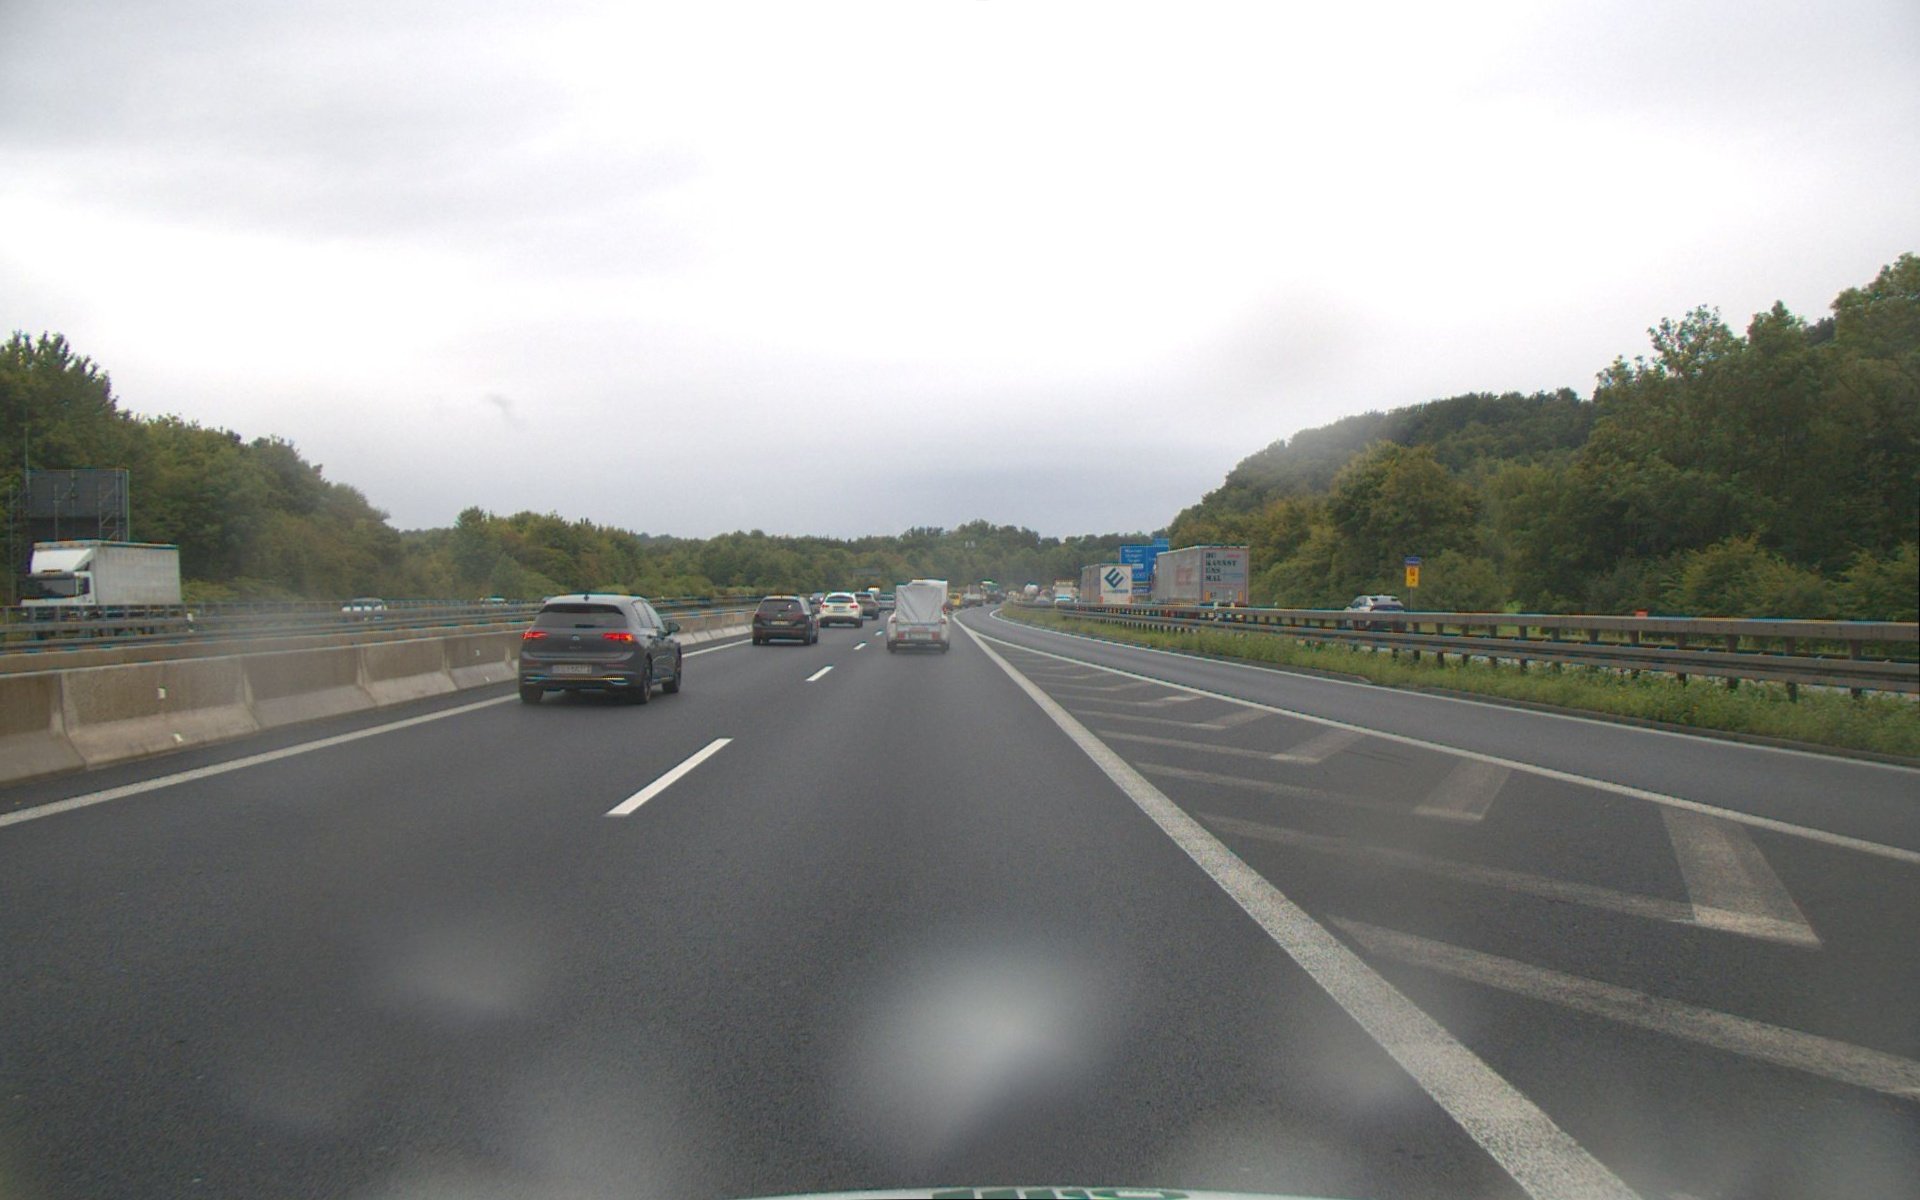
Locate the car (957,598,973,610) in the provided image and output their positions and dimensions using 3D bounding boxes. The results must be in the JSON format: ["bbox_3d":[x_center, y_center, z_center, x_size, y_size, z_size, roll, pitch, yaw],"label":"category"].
[{"bbox_3d":[0.713,0.552,232.110,1.994,1.712,4.002,1,0,4],"label":"car"}]

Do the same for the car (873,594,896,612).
[{"bbox_3d":[-7.014,0.280,154.538,1.738,1.669,4.044,1,0,3],"label":"car"}]

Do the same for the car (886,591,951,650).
[{"bbox_3d":[-1.183,0.605,49.380,1.781,1.644,4.777,1,0,0],"label":"car"}]

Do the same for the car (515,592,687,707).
[{"bbox_3d":[-5.029,0.660,23.670,1.642,1.481,3.999,1,0,-1],"label":"car"}]

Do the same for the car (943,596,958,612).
[{"bbox_3d":[-1.054,0.450,190.604,1.641,1.844,4.000,1,0,1],"label":"car"}]

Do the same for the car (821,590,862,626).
[{"bbox_3d":[-5.631,0.391,79.077,1.739,1.669,4.042,1,0,-1],"label":"car"}]

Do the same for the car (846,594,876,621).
[{"bbox_3d":[-6.338,0.497,106.178,1.739,1.669,4.042,1,0,-1],"label":"car"}]

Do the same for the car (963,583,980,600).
[{"bbox_3d":[1.766,-1.295,255.483,2.464,2.620,5.312,1,0,1],"label":"car"}]

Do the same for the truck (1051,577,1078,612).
[{"bbox_3d":[14.611,-0.758,231.765,3.586,4.748,13.038,1,0,4],"label":"truck"}]

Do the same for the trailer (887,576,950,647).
[{"bbox_3d":[-1.113,0.309,45.748,1.641,1.844,3.999,1,0,-1],"label":"trailer"}]

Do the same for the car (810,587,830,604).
[{"bbox_3d":[-16.932,-0.534,200.268,1.953,2.049,4.981,1,0,-1],"label":"car"}]

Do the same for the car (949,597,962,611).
[{"bbox_3d":[-0.612,0.562,219.429,1.641,1.844,4.000,1,0,1],"label":"car"}]

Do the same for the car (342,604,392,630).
[{"bbox_3d":[-36.069,1.031,100.739,1.642,1.481,3.999,1,0,-1],"label":"car"}]

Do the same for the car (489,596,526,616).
[{"bbox_3d":[-33.496,0.450,122.513,1.642,1.481,4.631,1,0,-2],"label":"car"}]

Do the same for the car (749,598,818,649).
[{"bbox_3d":[-5.373,0.711,50.814,1.729,1.481,3.999,1,0,-1],"label":"car"}]

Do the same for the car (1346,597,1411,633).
[{"bbox_3d":[17.954,0.639,71.126,1.642,1.481,3.998,1,0,-2],"label":"car"}]

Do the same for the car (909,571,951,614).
[{"bbox_3d":[-1.875,-0.458,105.783,2.456,2.630,5.700,1,0,1],"label":"car"}]

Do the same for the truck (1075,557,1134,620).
[{"bbox_3d":[11.441,-0.836,132.298,3.151,4.748,13.027,1,0,-2],"label":"truck"}]

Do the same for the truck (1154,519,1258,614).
[{"bbox_3d":[13.147,-1.654,89.680,3.151,4.748,13.026,1,0,-2],"label":"truck"}]

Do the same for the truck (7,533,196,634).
[{"bbox_3d":[-36.043,-0.632,69.992,3.011,3.947,9.633,1,0,-1],"label":"truck"}]
